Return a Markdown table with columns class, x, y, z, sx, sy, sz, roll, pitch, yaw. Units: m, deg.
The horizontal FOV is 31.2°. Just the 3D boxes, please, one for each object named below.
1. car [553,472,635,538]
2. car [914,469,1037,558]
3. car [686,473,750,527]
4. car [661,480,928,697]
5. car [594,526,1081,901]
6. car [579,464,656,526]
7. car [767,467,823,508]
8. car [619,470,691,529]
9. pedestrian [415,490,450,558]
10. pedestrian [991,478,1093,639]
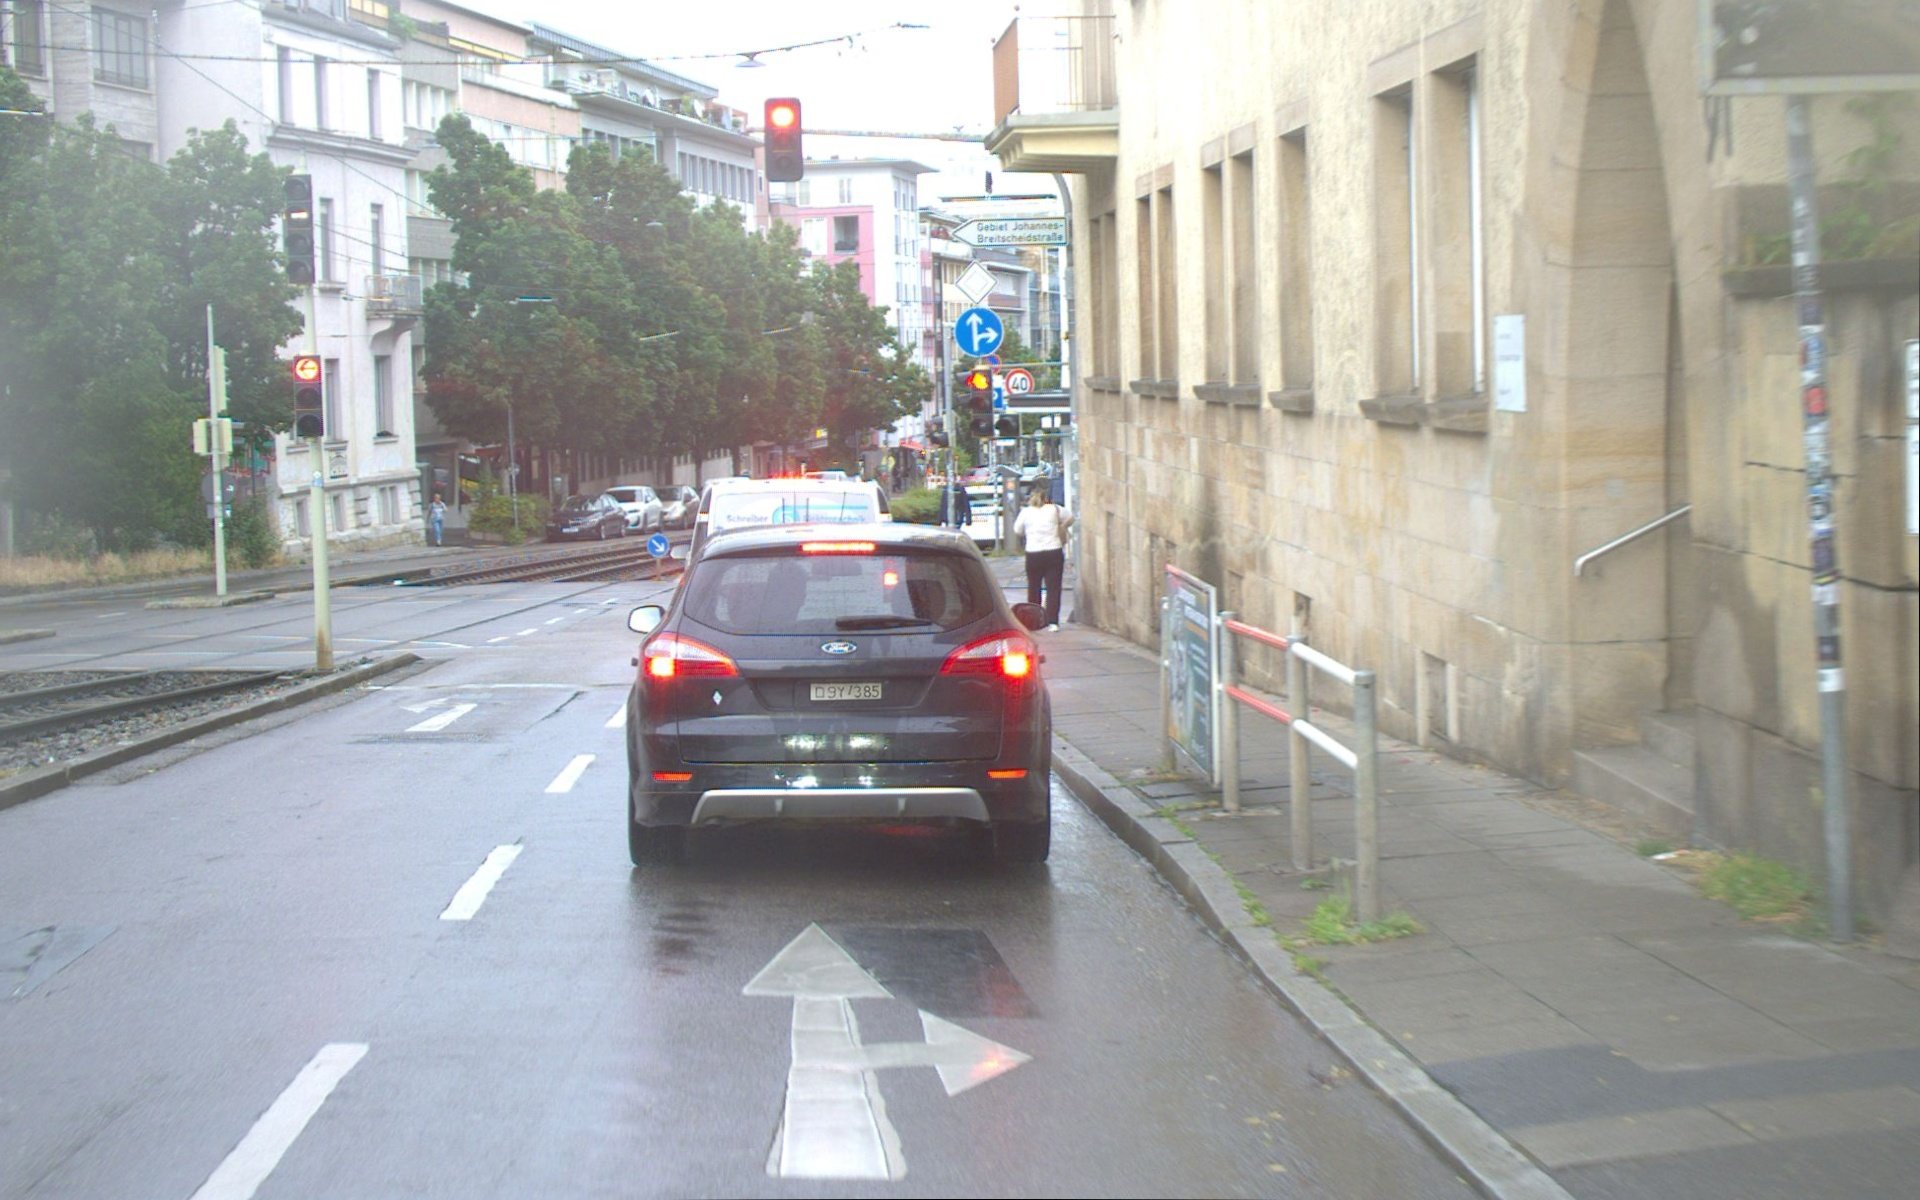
| class | x | y | z | sx | sy | sz | roll | pitch | yaw |
| --- | --- | --- | --- | --- | --- | --- | --- | --- | --- |
| car | -11.585 | -3.031 | 109.083 | 1.994 | 2.006 | 4.000 | -1 | 2 | 2 |
| car | 0.364 | -1.815 | 71.800 | 1.994 | 1.766 | 3.999 | -1 | 2 | 8 |
| car | -9.315 | -3.855 | 132.663 | 1.994 | 2.006 | 4.000 | -1 | 2 | 2 |
| car | -1.565 | -0.170 | 30.900 | 2.136 | 1.739 | 4.219 | -2 | 2 | -5 |
| car | -0.696 | 0.414 | 15.778 | 1.920 | 1.474 | 4.001 | 0 | 2 | -7 |
| car | -11.449 | -3.519 | 115.279 | 1.994 | 2.006 | 4.000 | -1 | 2 | 2 |
| car | -6.984 | -4.765 | 145.858 | 1.994 | 1.656 | 4.000 | -1 | 2 | 2 |
| car | -10.777 | -3.571 | 121.739 | 1.994 | 2.006 | 4.000 | -1 | 2 | 2 |
| pedestrian | -15.744 | -2.262 | 102.551 | 0.941 | 2.006 | 0.765 | -2 | 2 | -12 |
| pedestrian | 0.928 | -0.481 | 39.074 | 1.045 | 1.789 | 0.902 | -1 | 2 | -4 |
